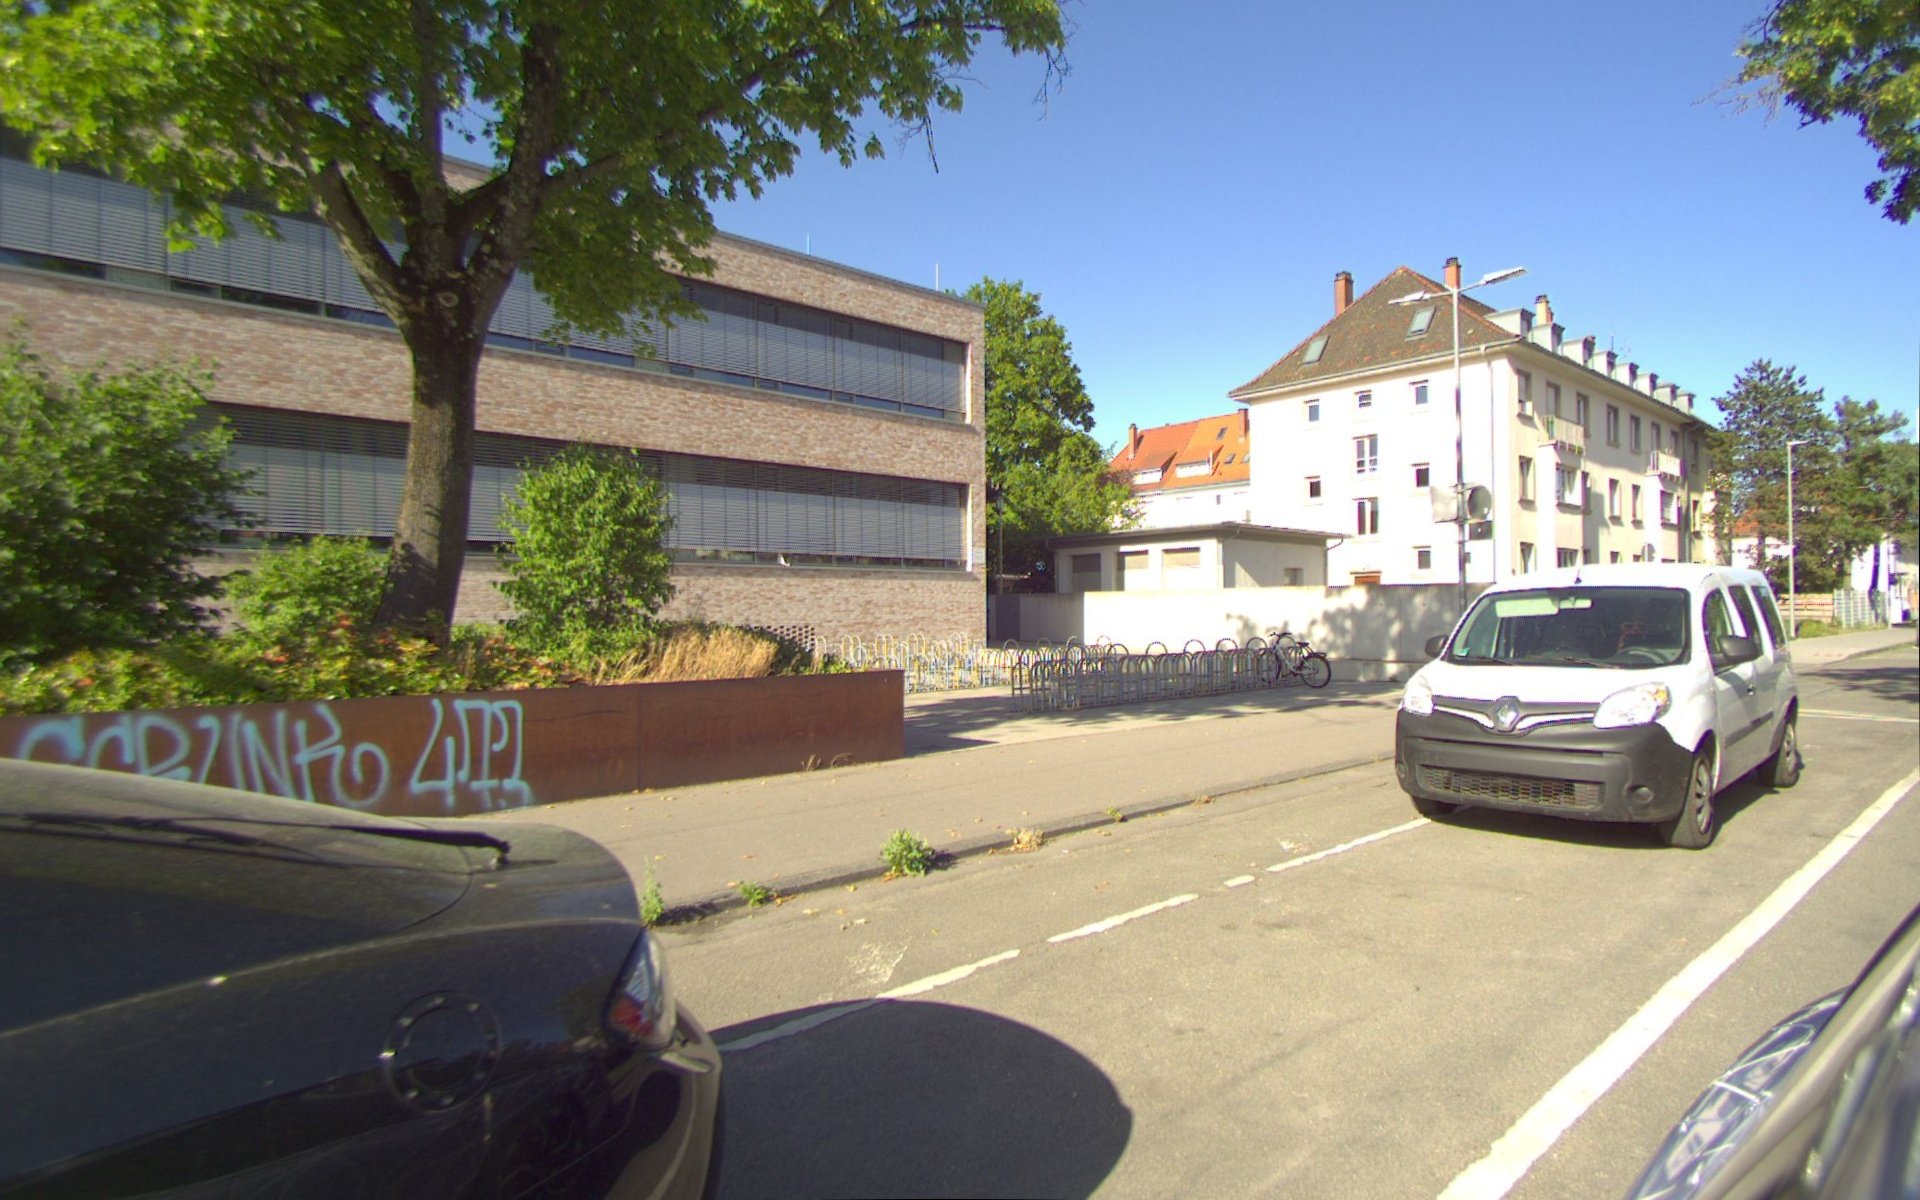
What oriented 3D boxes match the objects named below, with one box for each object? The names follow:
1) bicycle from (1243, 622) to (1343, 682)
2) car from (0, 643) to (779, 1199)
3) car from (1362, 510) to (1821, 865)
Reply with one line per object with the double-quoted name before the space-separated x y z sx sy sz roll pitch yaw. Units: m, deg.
"bicycle" 6.053 0.947 18.460 0.491 1.043 1.670 0 -2 -42
"car" -2.372 0.793 0.952 4.058 1.342 1.704 -1 -1 -41
"car" 4.972 0.481 7.682 4.385 1.933 1.810 0 -1 -42
